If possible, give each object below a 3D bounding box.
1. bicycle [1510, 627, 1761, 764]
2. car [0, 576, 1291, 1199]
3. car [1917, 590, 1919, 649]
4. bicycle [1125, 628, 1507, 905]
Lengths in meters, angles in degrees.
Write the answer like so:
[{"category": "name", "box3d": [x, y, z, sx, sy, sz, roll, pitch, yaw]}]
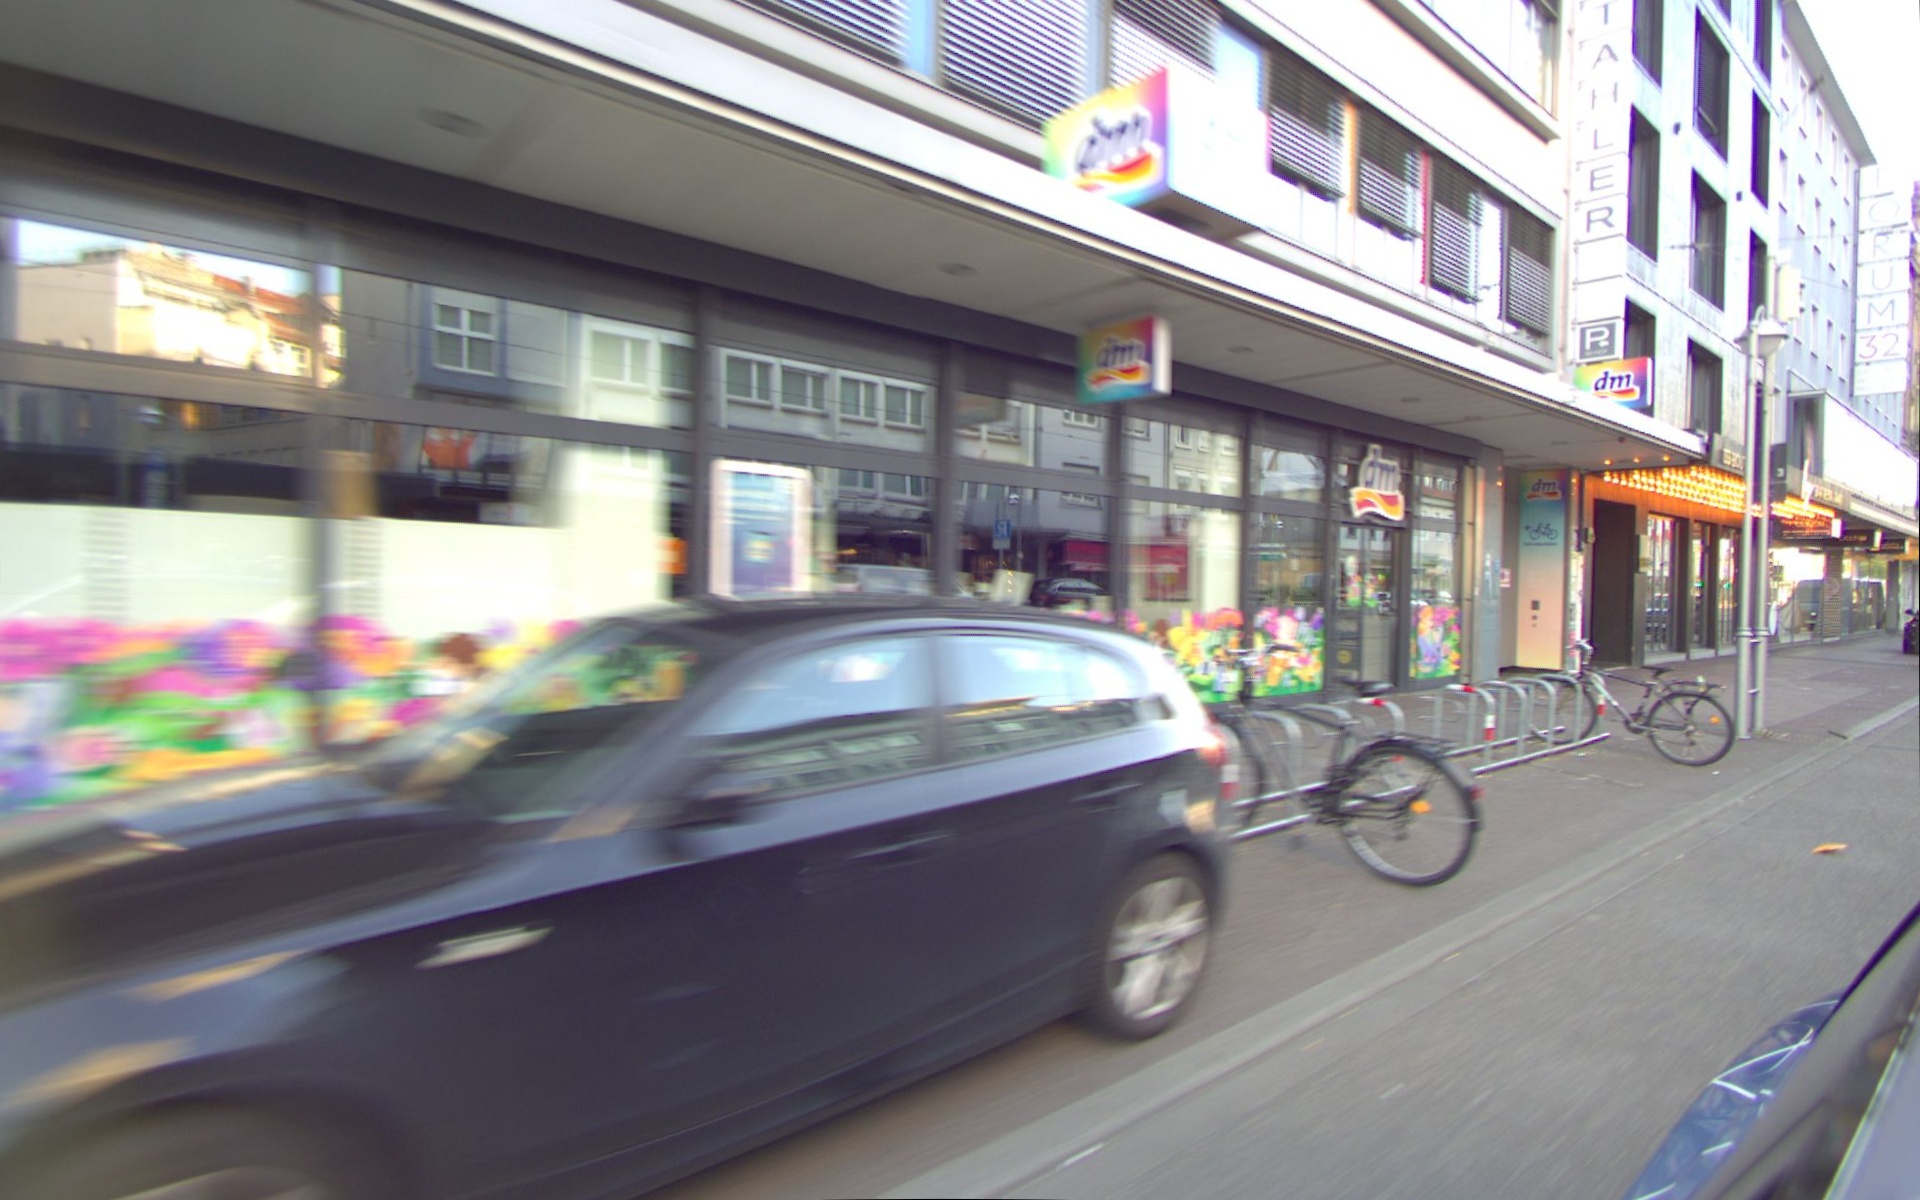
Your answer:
[{"category": "bicycle", "box3d": [6.141, 0.823, 9.290, 0.566, 0.984, 1.797, 0, 3, -43]}, {"category": "car", "box3d": [-0.832, 0.696, 3.011, 3.952, 1.481, 1.657, -1, 0, -41]}, {"category": "car", "box3d": [27.410, 0.523, 27.460, 3.897, 1.560, 1.743, -1, 2, -41]}, {"category": "bicycle", "box3d": [1.834, 0.777, 5.461, 0.631, 1.123, 1.842, 0, 2, -43]}]
